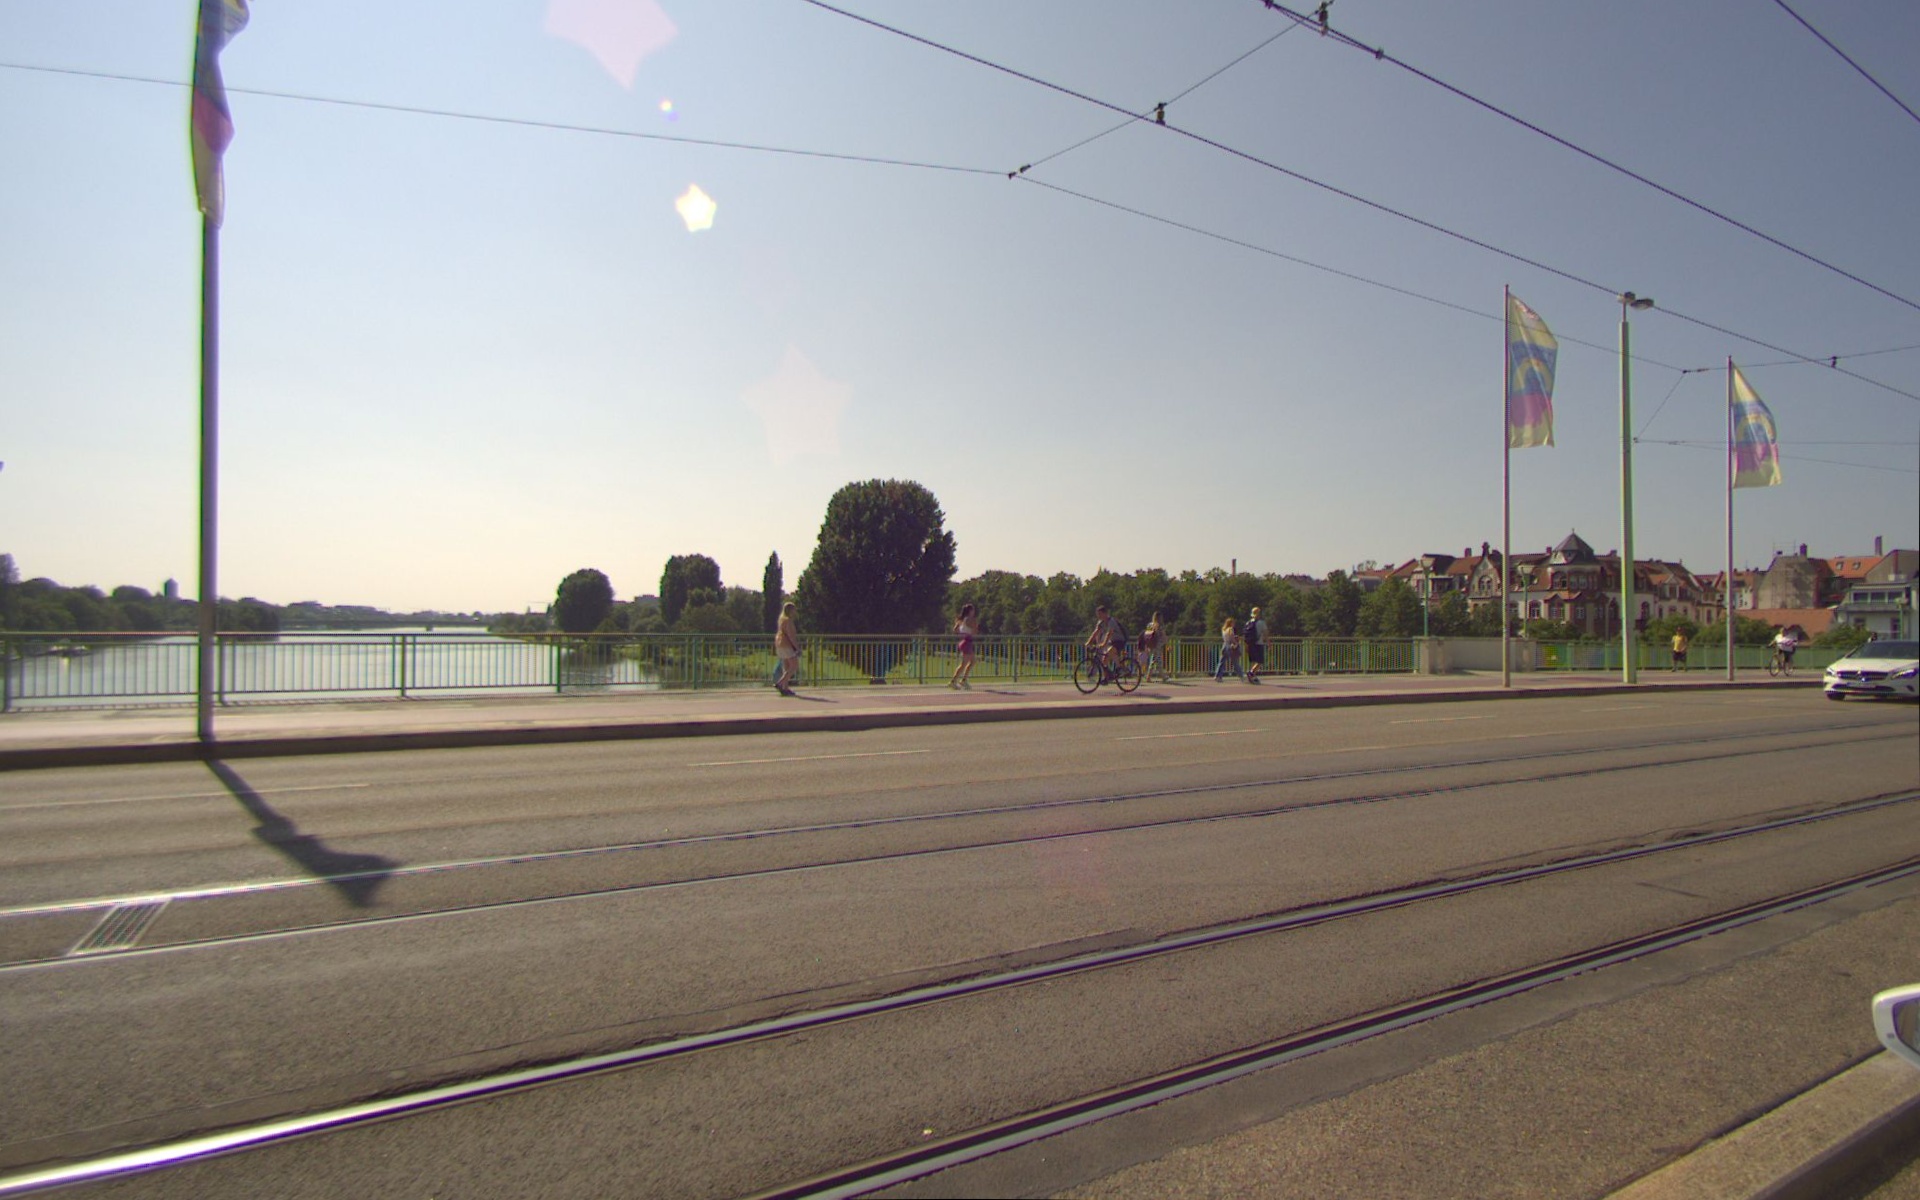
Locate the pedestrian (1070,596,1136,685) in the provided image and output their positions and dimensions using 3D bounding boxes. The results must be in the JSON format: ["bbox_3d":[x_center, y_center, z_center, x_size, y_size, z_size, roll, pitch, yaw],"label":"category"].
[{"bbox_3d":[3.361,0.938,23.679,1.117,2.040,1.091,0,-1,-33],"label":"pedestrian"}]

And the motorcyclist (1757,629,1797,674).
[{"bbox_3d":[29.490,1.850,36.260,1.057,1.569,0.796,1,-1,-31],"label":"motorcyclist"}]

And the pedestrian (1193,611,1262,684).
[{"bbox_3d":[6.651,1.163,24.954,1.281,1.752,1.091,0,-1,-33],"label":"pedestrian"}]

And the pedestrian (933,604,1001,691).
[{"bbox_3d":[0.152,0.965,20.702,1.163,1.745,0.750,2,-1,-33],"label":"pedestrian"}]

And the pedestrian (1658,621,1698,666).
[{"bbox_3d":[27.009,1.628,37.790,1.016,1.680,0.895,1,-1,-28],"label":"pedestrian"}]

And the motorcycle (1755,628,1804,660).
[{"bbox_3d":[29.566,1.580,36.228,2.154,1.125,0.697,1,-1,-31],"label":"motorcycle"}]

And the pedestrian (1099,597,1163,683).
[{"bbox_3d":[4.200,0.957,24.688,1.117,2.040,1.091,0,-1,-33],"label":"pedestrian"}]

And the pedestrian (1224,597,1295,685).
[{"bbox_3d":[7.188,0.974,24.129,1.281,2.040,1.091,0,-1,-33],"label":"pedestrian"}]

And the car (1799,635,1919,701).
[{"bbox_3d":[22.413,1.568,24.114,4.491,1.428,1.985,1,-1,-29],"label":"car"}]

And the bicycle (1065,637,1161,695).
[{"bbox_3d":[3.158,1.322,20.597,2.090,1.111,0.585,1,-1,-33],"label":"bicycle"}]

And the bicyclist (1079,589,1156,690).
[{"bbox_3d":[3.227,0.789,20.611,1.117,1.987,1.091,0,-1,-33],"label":"bicyclist"}]

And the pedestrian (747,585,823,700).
[{"bbox_3d":[-3.225,0.768,18.489,1.091,2.040,0.962,0,-1,-35],"label":"pedestrian"}]

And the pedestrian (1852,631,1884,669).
[{"bbox_3d":[42.405,2.308,46.931,1.081,1.745,0.826,1,-1,-30],"label":"pedestrian"}]
